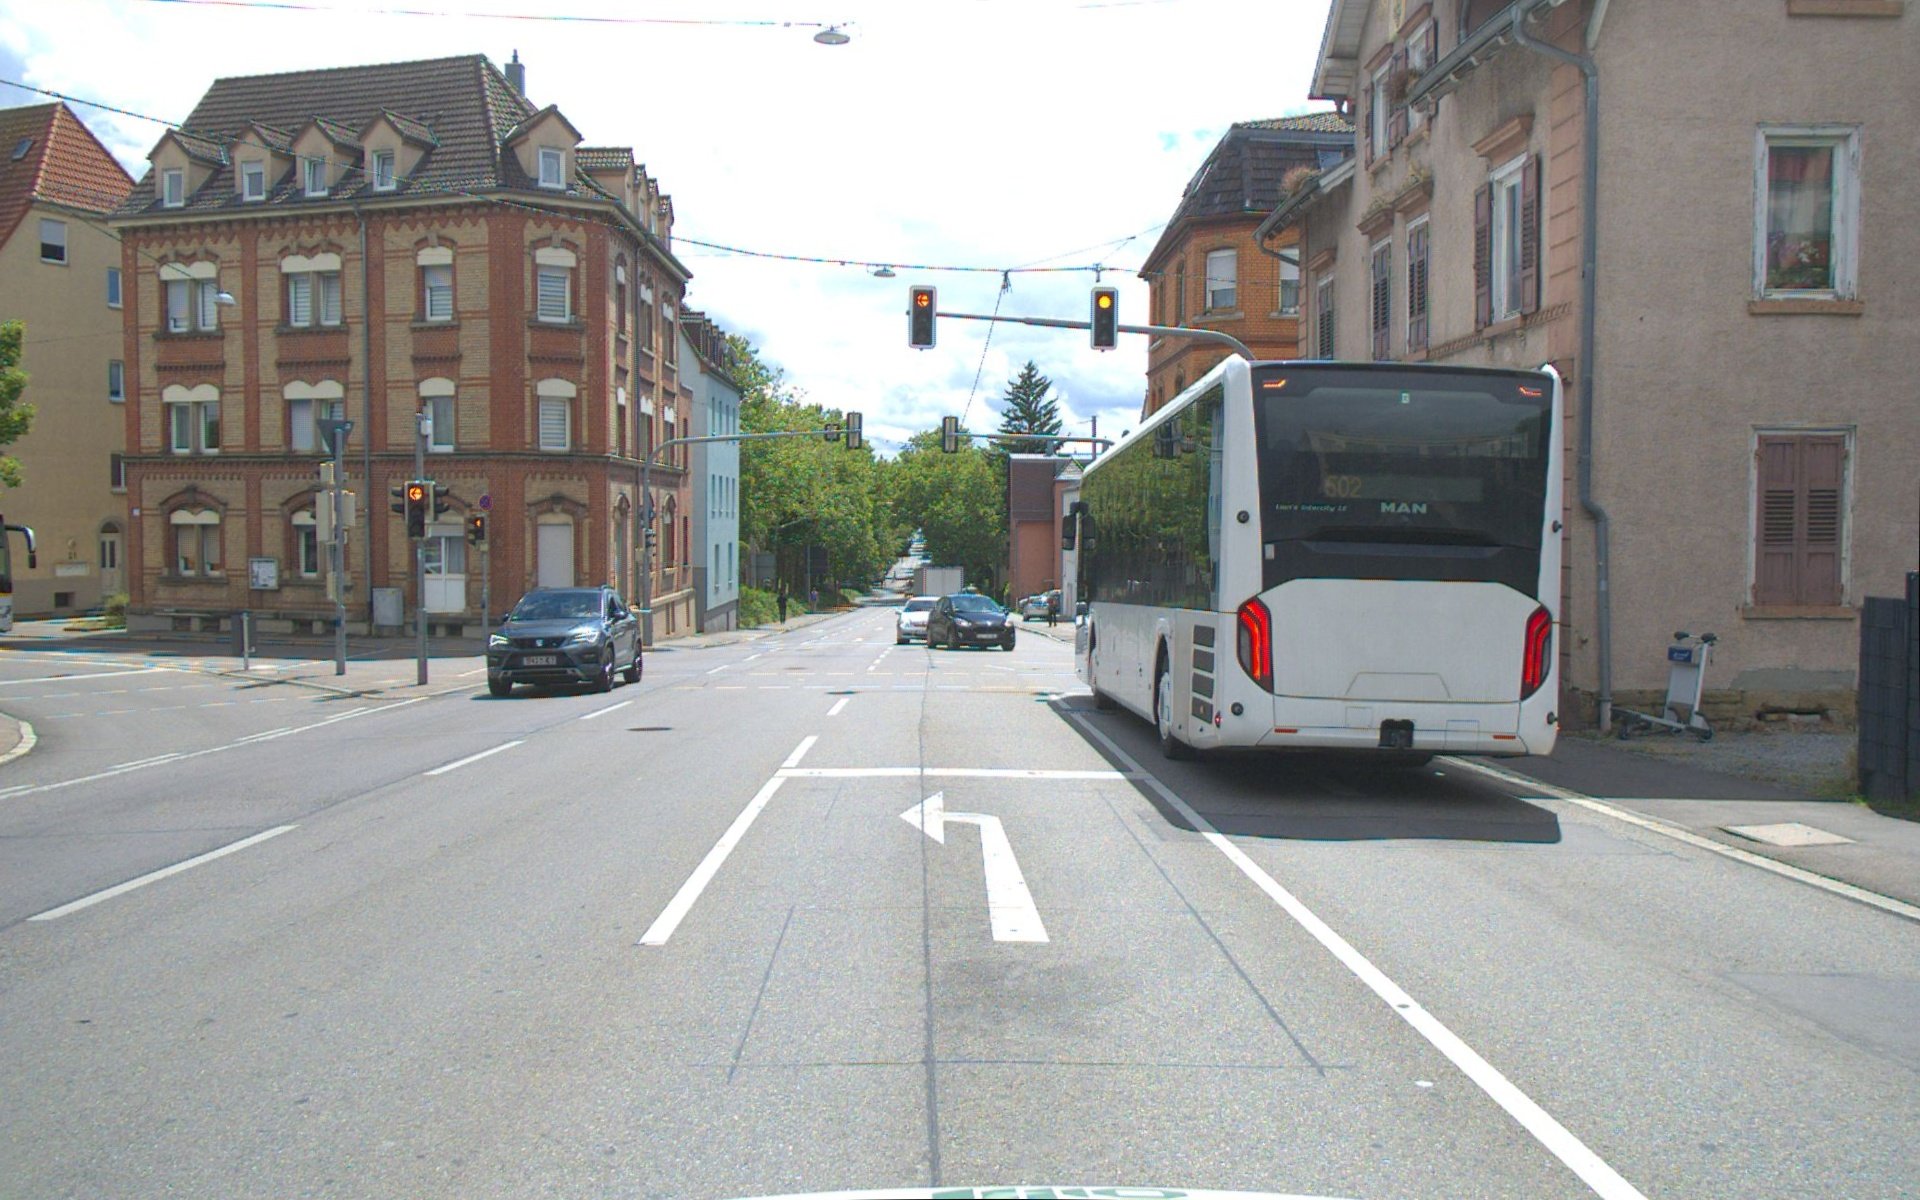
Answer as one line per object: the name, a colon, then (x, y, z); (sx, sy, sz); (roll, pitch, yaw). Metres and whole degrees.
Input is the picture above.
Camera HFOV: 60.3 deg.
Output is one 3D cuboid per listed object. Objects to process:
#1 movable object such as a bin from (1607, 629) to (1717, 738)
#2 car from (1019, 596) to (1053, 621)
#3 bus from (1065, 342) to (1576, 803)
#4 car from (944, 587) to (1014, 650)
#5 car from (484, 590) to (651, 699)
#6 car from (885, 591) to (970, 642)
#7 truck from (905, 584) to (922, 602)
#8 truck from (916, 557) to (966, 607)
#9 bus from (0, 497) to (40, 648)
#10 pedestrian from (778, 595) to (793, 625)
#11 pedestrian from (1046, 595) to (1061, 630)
movable object such as a bin: (7.006, 0.826, 16.531); (0.760, 1.030, 0.749); (-1, 0, -1)
car: (4.681, 0.536, 101.726); (1.758, 1.434, 3.999); (-1, 1, -2)
bus: (2.939, -0.251, 17.876); (2.618, 3.210, 12.460); (-1, 1, -1)
car: (0.457, 0.439, 43.683); (1.723, 1.543, 3.793); (-1, 1, -1)
car: (-6.080, 0.633, 26.022); (1.723, 1.548, 3.957); (-1, 0, -1)
car: (-0.934, 0.474, 50.125); (1.662, 1.452, 4.004); (-1, 1, 12)
truck: (-5.547, -0.833, 197.601); (1.953, 2.049, 3.999); (1, 0, -1)
truck: (-1.309, -1.173, 108.059); (2.868, 3.135, 7.881); (-1, 1, -3)
bus: (-29.144, -0.854, 42.683); (11.979, 3.684, 2.770); (2, 1, 24)
pedestrian: (-9.405, 0.554, 89.110); (0.714, 1.592, 0.560); (0, 0, -2)
pedestrian: (4.861, 0.660, 85.876); (0.723, 1.781, 0.619); (-1, 0, -1)
